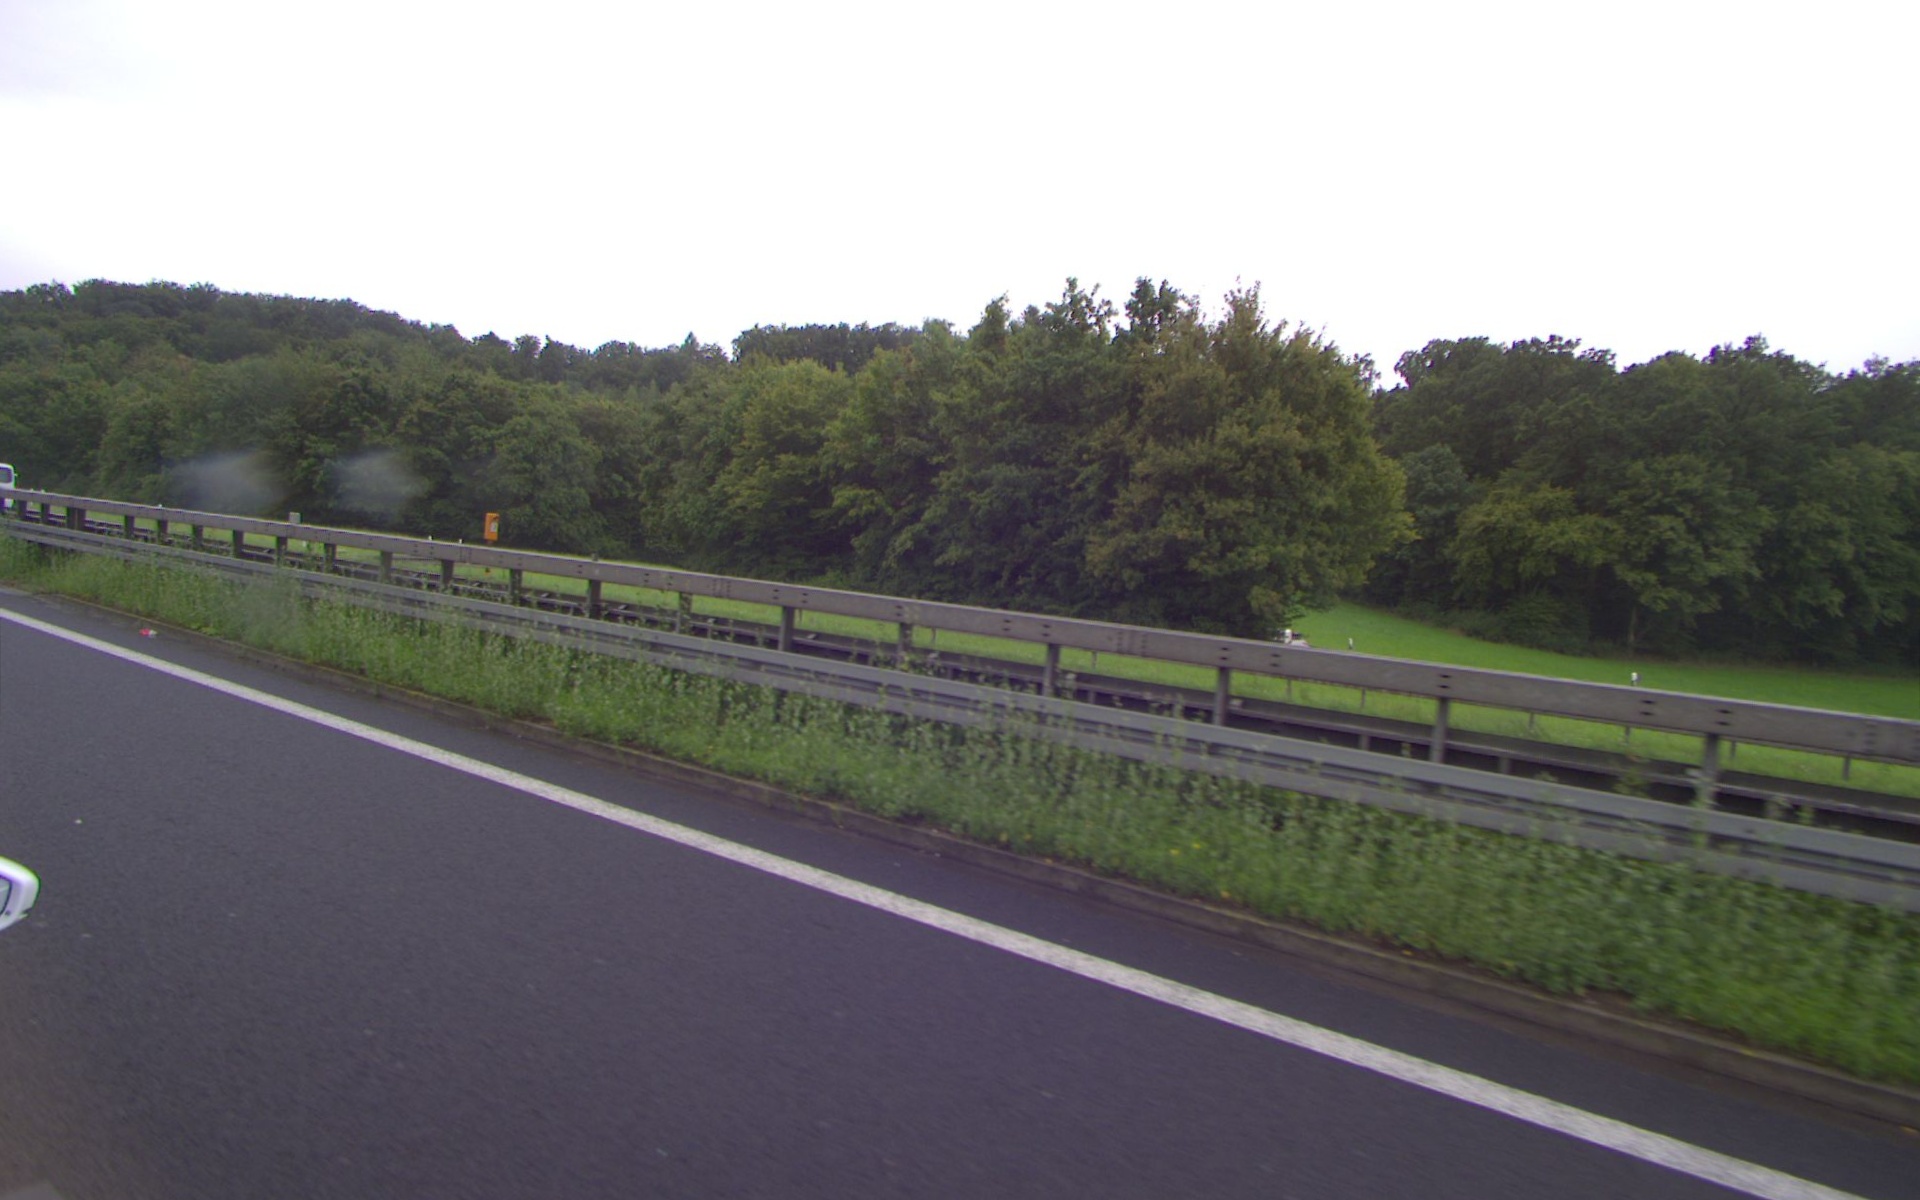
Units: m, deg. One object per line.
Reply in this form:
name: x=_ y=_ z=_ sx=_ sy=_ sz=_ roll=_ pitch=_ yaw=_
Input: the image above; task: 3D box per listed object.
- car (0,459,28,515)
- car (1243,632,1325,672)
car: x=-33.120 y=-3.918 z=33.415 sx=4.640 sy=1.714 sz=1.911 roll=6 pitch=0 yaw=31
car: x=15.779 y=2.504 z=49.301 sx=1.872 sy=1.472 sz=4.704 roll=6 pitch=-1 yaw=-8
